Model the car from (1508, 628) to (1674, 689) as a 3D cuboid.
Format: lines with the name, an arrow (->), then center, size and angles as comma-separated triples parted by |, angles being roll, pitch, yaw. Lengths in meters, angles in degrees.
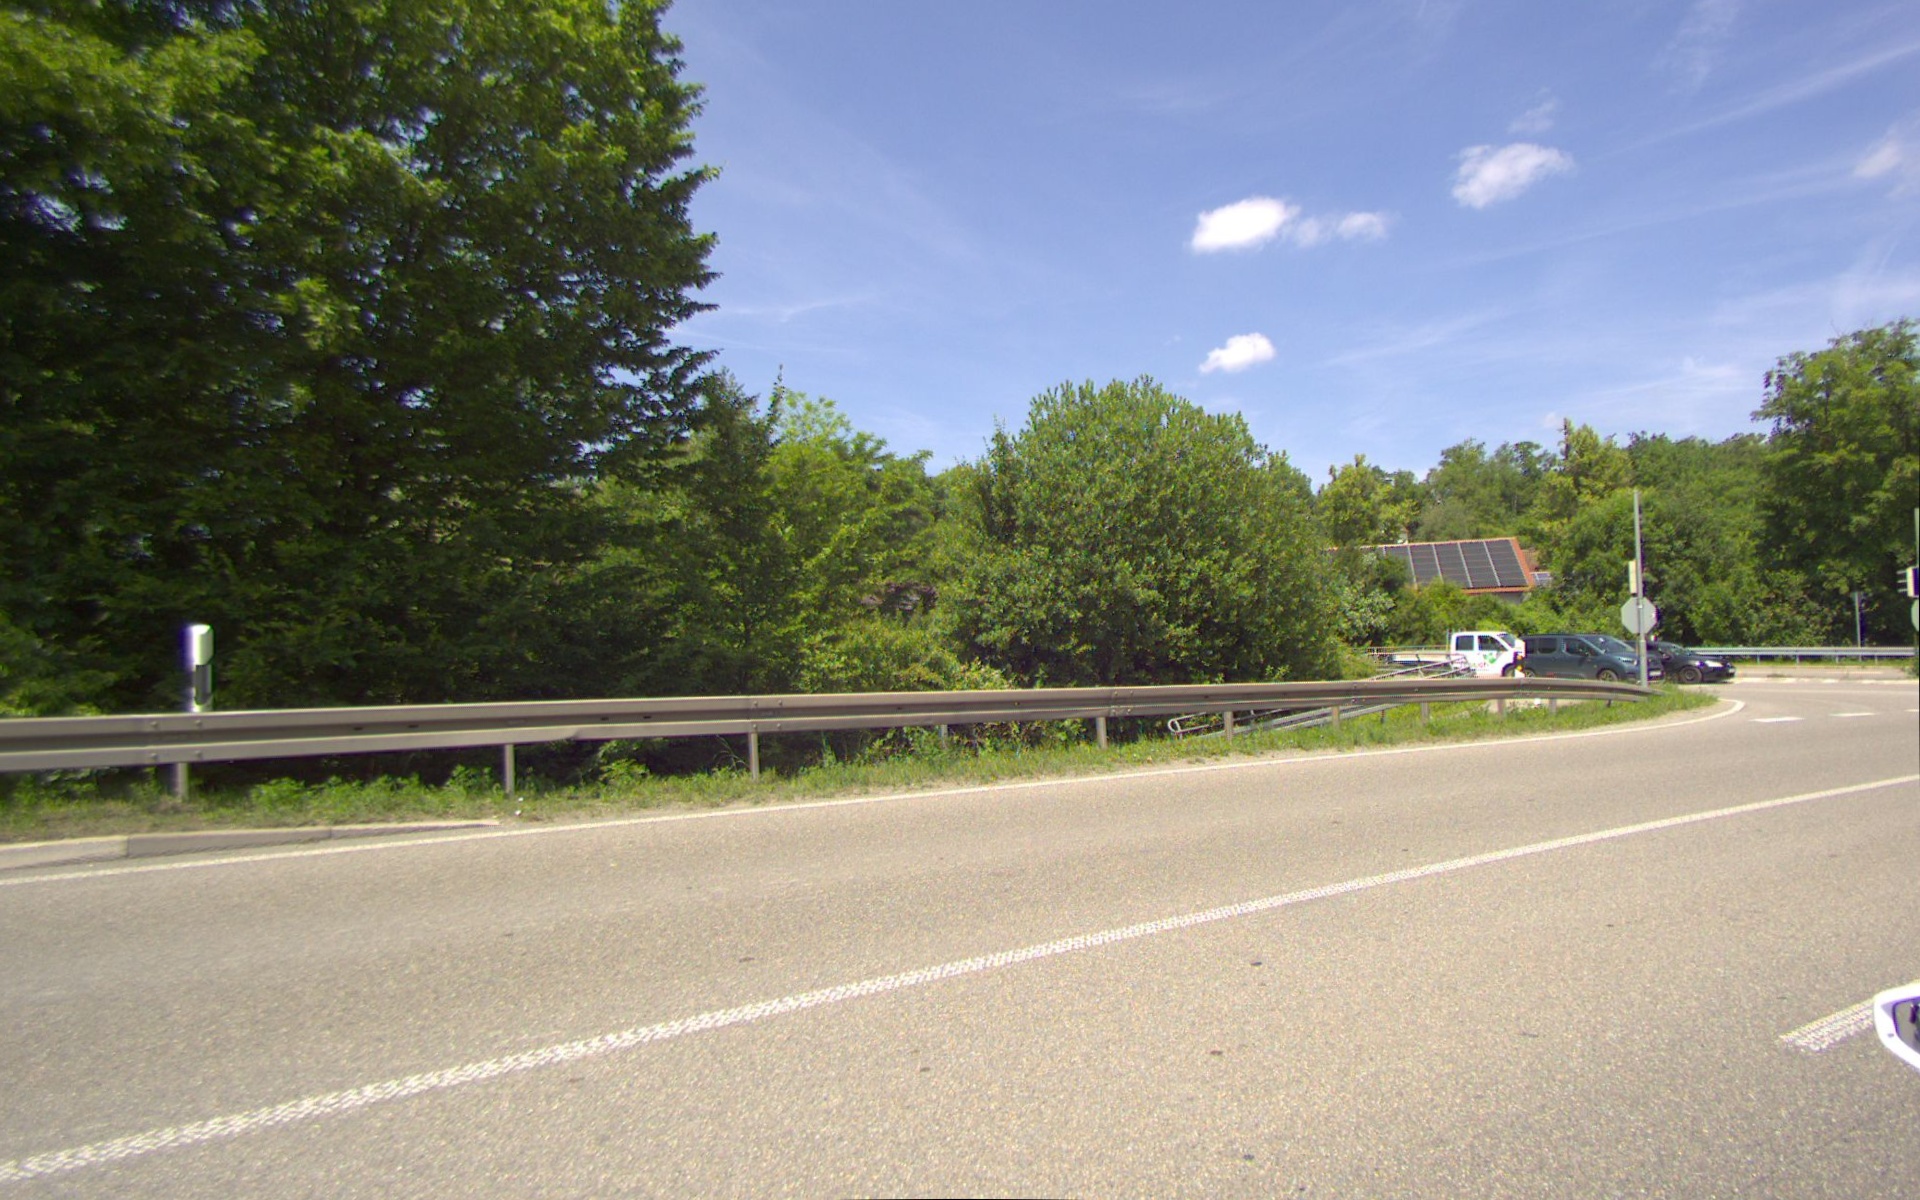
car -> 20.174, 1.825, 32.309 | 1.970, 1.793, 4.229 | 2, -2, -20

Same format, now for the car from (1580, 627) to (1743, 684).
car -> 23.770, 1.853, 34.243 | 1.970, 1.793, 4.229 | 2, -2, -20

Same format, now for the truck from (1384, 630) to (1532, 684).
truck -> 19.586, 2.208, 39.674 | 2.028, 1.815, 4.832 | 4, -2, -41
